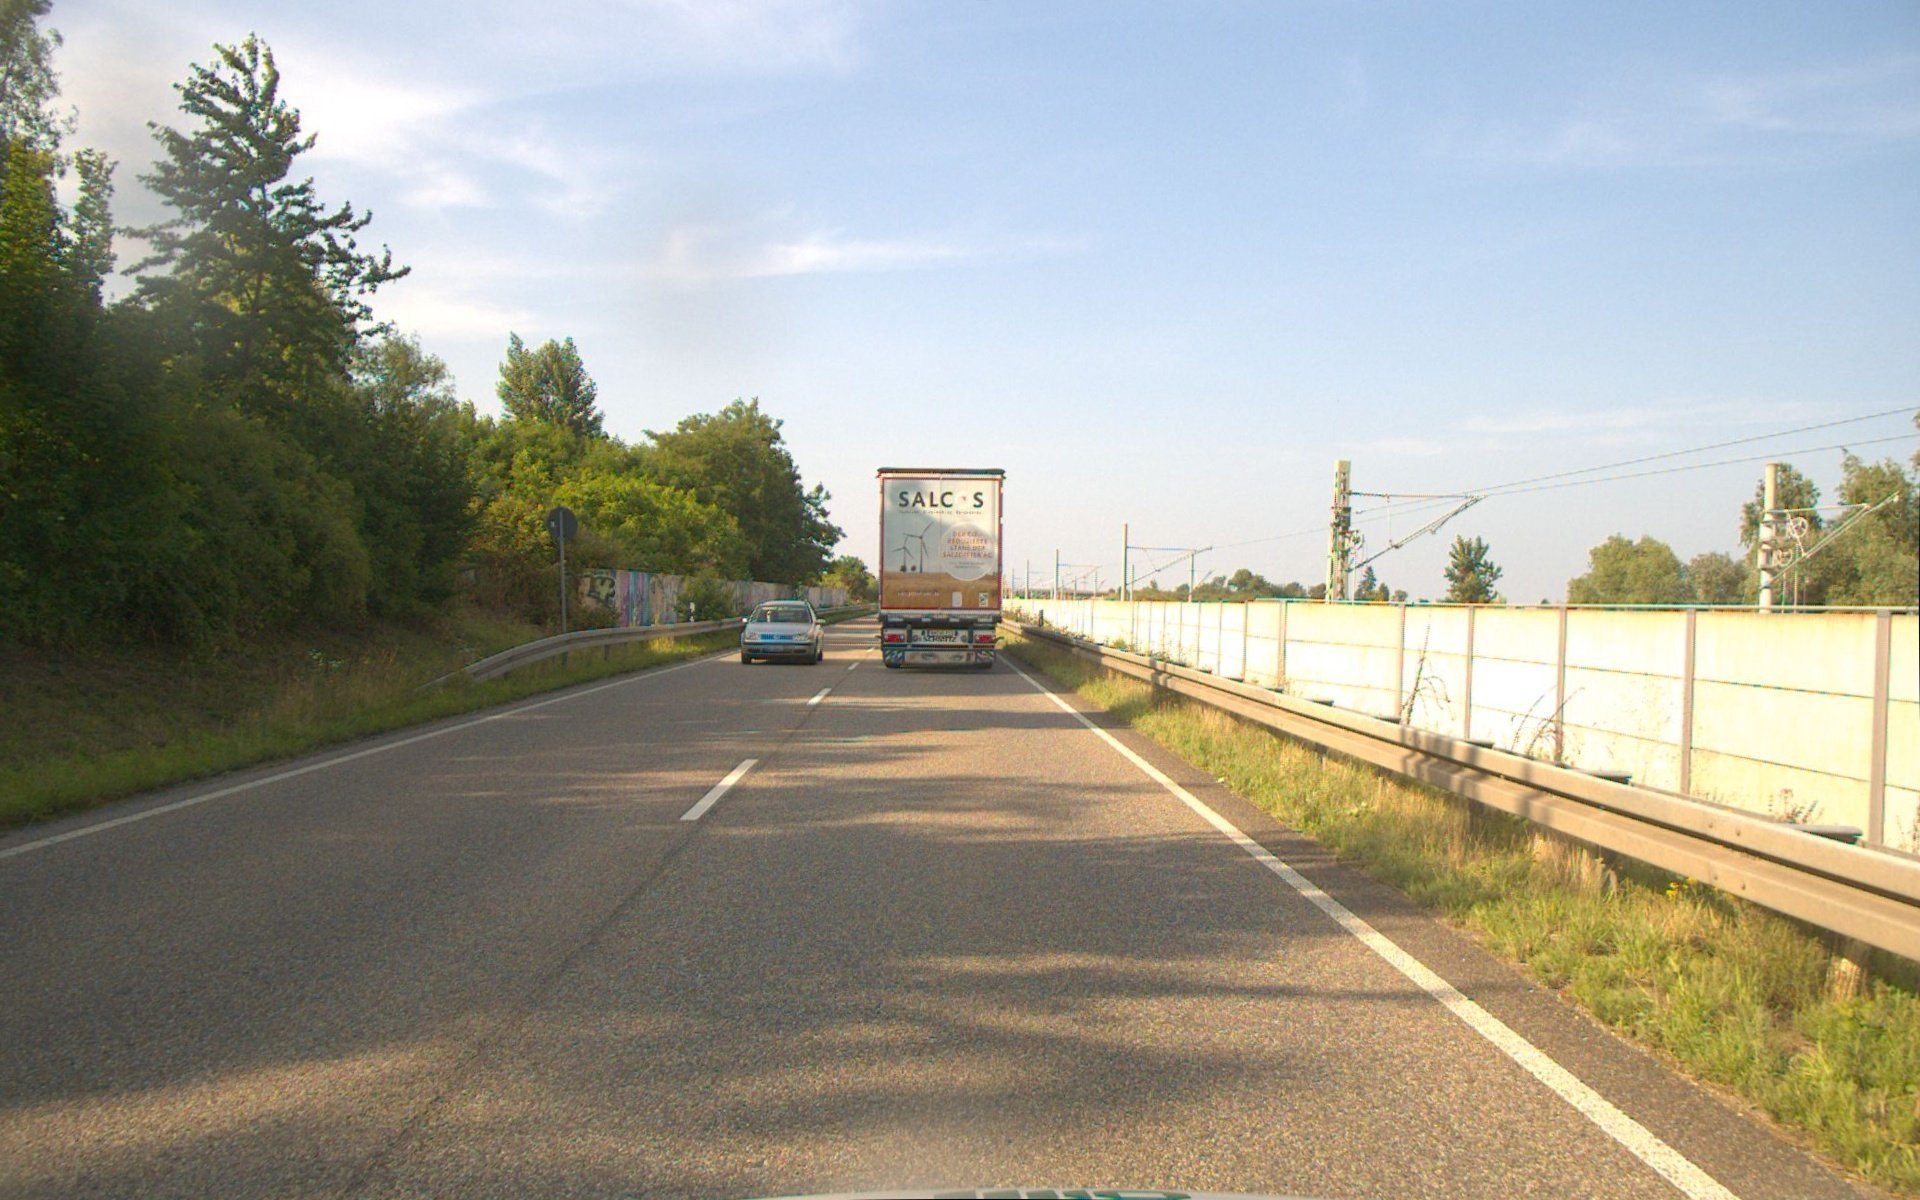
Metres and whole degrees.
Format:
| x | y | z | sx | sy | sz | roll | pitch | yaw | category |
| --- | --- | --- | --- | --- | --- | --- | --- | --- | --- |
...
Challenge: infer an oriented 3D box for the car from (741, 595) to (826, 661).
| x | y | z | sx | sy | sz | roll | pitch | yaw | category |
| --- | --- | --- | --- | --- | --- | --- | --- | --- | --- |
| -4.075 | 0.637 | 38.755 | 1.685 | 1.418 | 4.358 | 1 | -1 | -2 | car |

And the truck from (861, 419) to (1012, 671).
| x | y | z | sx | sy | sz | roll | pitch | yaw | category |
| --- | --- | --- | --- | --- | --- | --- | --- | --- | --- |
| -0.719 | -1.115 | 38.997 | 2.972 | 5.006 | 11.678 | 1 | 0 | -3 | truck |
